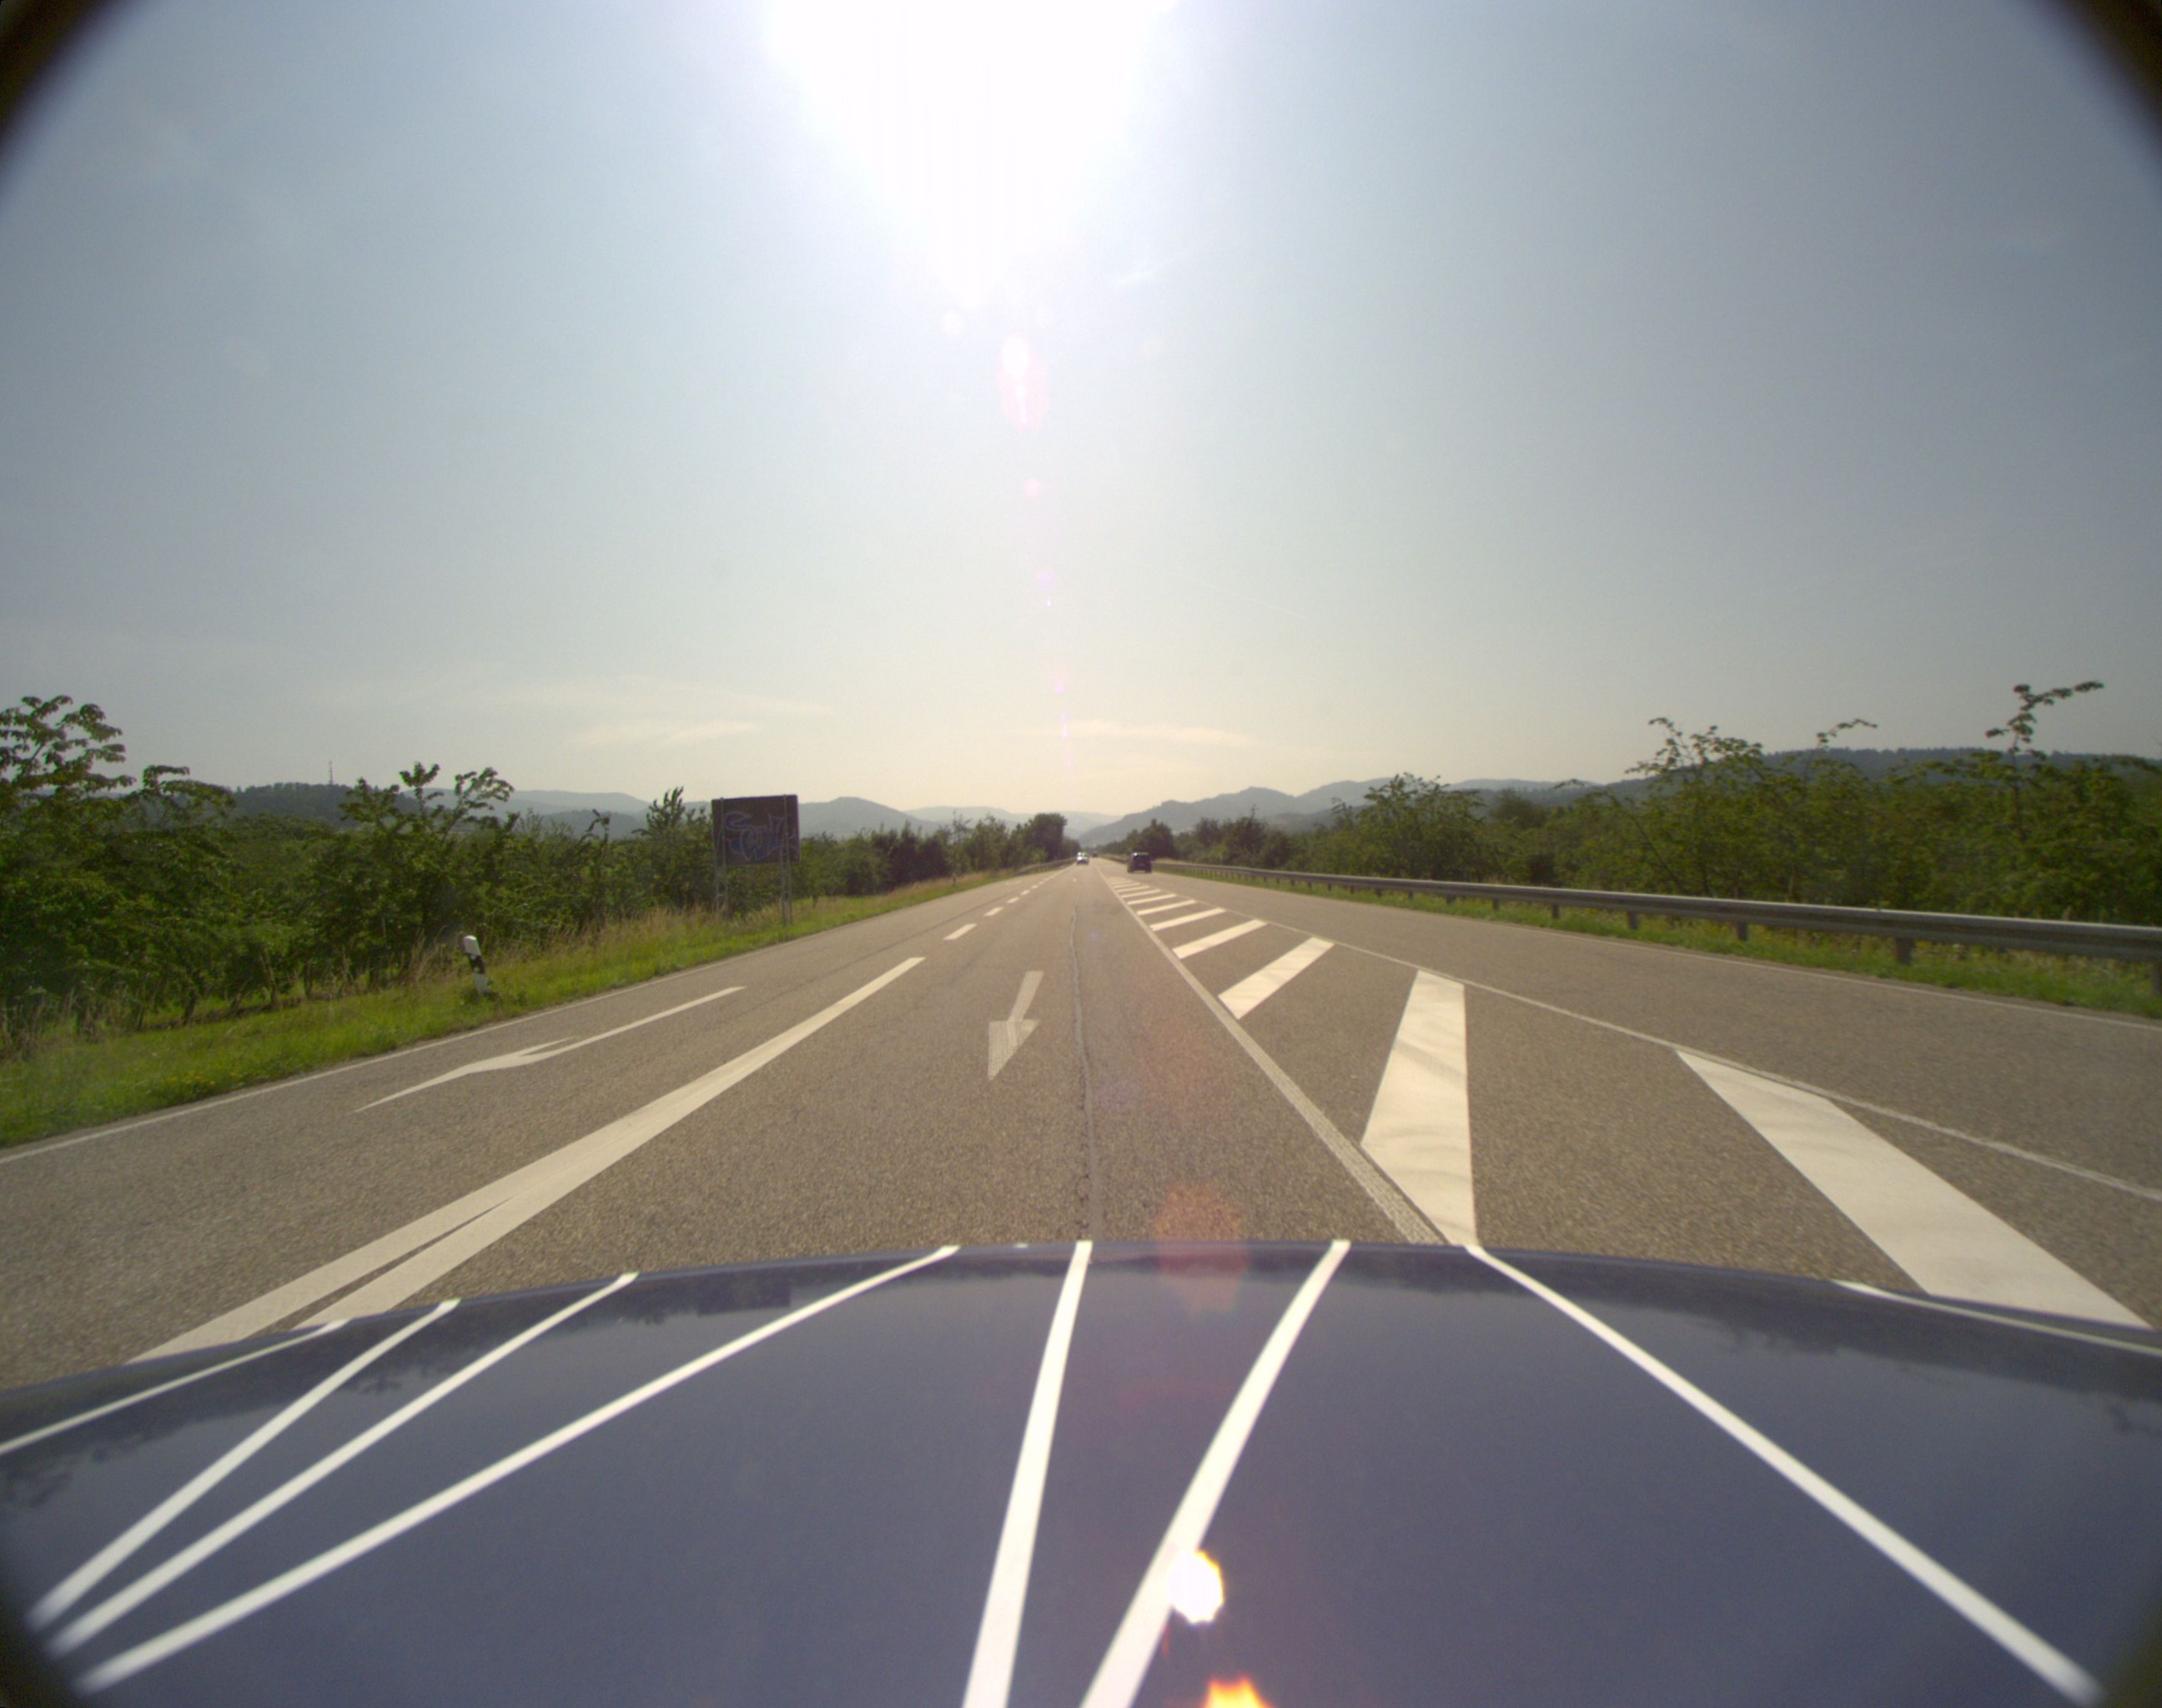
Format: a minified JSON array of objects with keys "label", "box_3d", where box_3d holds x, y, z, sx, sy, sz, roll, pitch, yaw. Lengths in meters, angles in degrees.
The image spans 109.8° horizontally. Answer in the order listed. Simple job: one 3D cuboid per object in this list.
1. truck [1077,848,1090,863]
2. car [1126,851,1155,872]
[{"label":"truck","box_3d":[0.425,0.244,125.476,2.031,2.232,4.764,-2,1,1]},{"label":"car","box_3d":[4.907,0.578,63.540,1.808,1.628,4.808,-2,1,-2]}]
